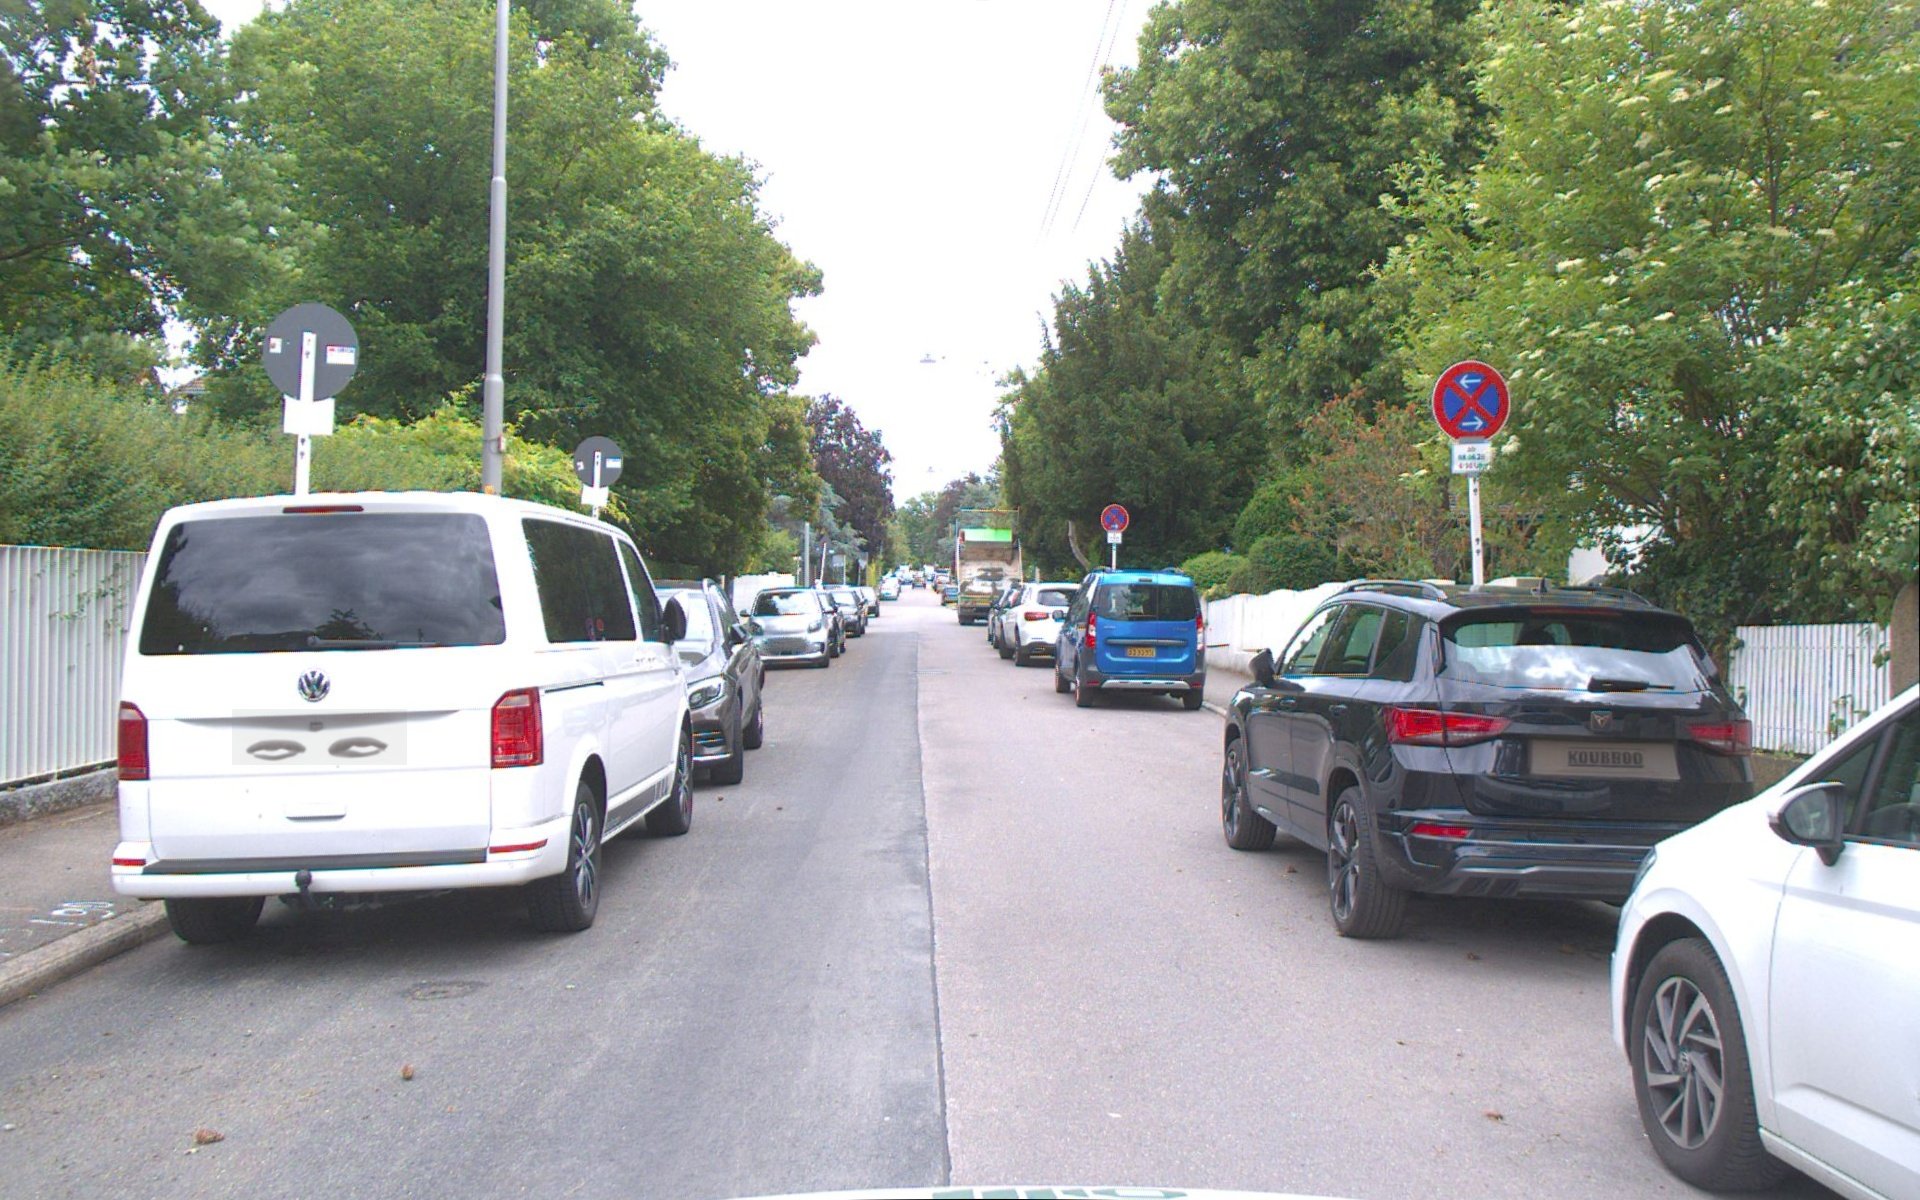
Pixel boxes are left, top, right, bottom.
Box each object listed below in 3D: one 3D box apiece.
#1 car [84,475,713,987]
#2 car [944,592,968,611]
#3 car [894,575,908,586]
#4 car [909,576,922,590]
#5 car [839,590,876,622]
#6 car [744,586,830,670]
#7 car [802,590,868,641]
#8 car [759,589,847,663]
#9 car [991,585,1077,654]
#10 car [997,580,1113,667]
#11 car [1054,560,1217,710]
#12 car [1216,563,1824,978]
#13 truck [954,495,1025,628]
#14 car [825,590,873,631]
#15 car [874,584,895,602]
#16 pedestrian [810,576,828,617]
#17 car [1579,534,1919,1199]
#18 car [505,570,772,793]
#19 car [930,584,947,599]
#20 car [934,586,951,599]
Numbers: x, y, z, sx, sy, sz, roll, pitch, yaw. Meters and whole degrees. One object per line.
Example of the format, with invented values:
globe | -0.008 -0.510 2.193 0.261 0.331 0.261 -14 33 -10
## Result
car | -2.553 0.522 8.825 1.817 1.947 4.618 -2 0 -1
car | -0.359 0.085 134.481 1.743 1.515 3.998 0 0 -3
car | -8.198 -2.742 230.129 1.692 1.432 3.805 0 0 2
car | -5.399 -2.071 200.951 1.601 1.731 3.493 1 1 -2
car | -4.801 0.247 77.846 1.604 1.419 3.987 -2 0 -3
car | -3.432 0.530 33.189 1.590 1.560 2.959 -2 0 -5
car | -3.788 0.435 50.734 1.607 1.447 4.549 -2 0 0
car | -3.520 0.544 37.628 1.621 1.507 3.887 -2 1 -1
car | 1.753 0.441 40.376 1.664 1.598 4.306 0 0 -3
car | 1.886 0.447 34.147 1.723 1.634 4.570 1 0 -5
car | 2.376 0.433 23.311 1.649 1.861 4.155 2 0 -2
car | 2.621 0.715 8.818 1.715 1.636 4.074 2 -1 -2
truck | 1.079 -1.437 64.754 2.473 4.831 7.186 1 0 -1
car | -4.171 0.388 62.525 1.563 1.458 3.999 -2 0 -1
car | -7.027 -0.637 154.179 1.676 1.613 4.001 1 0 1
pedestrian | -7.160 -0.156 83.936 0.835 2.049 0.700 2 0 -7
car | 2.908 0.712 2.993 1.749 1.631 4.302 2 0 -3
car | -2.677 0.605 14.695 1.755 1.651 4.340 -1 0 -4
car | -2.418 -0.966 186.823 1.753 1.556 3.734 1 0 0
car | -1.898 -0.810 177.971 1.774 1.359 3.631 2 1 -2
